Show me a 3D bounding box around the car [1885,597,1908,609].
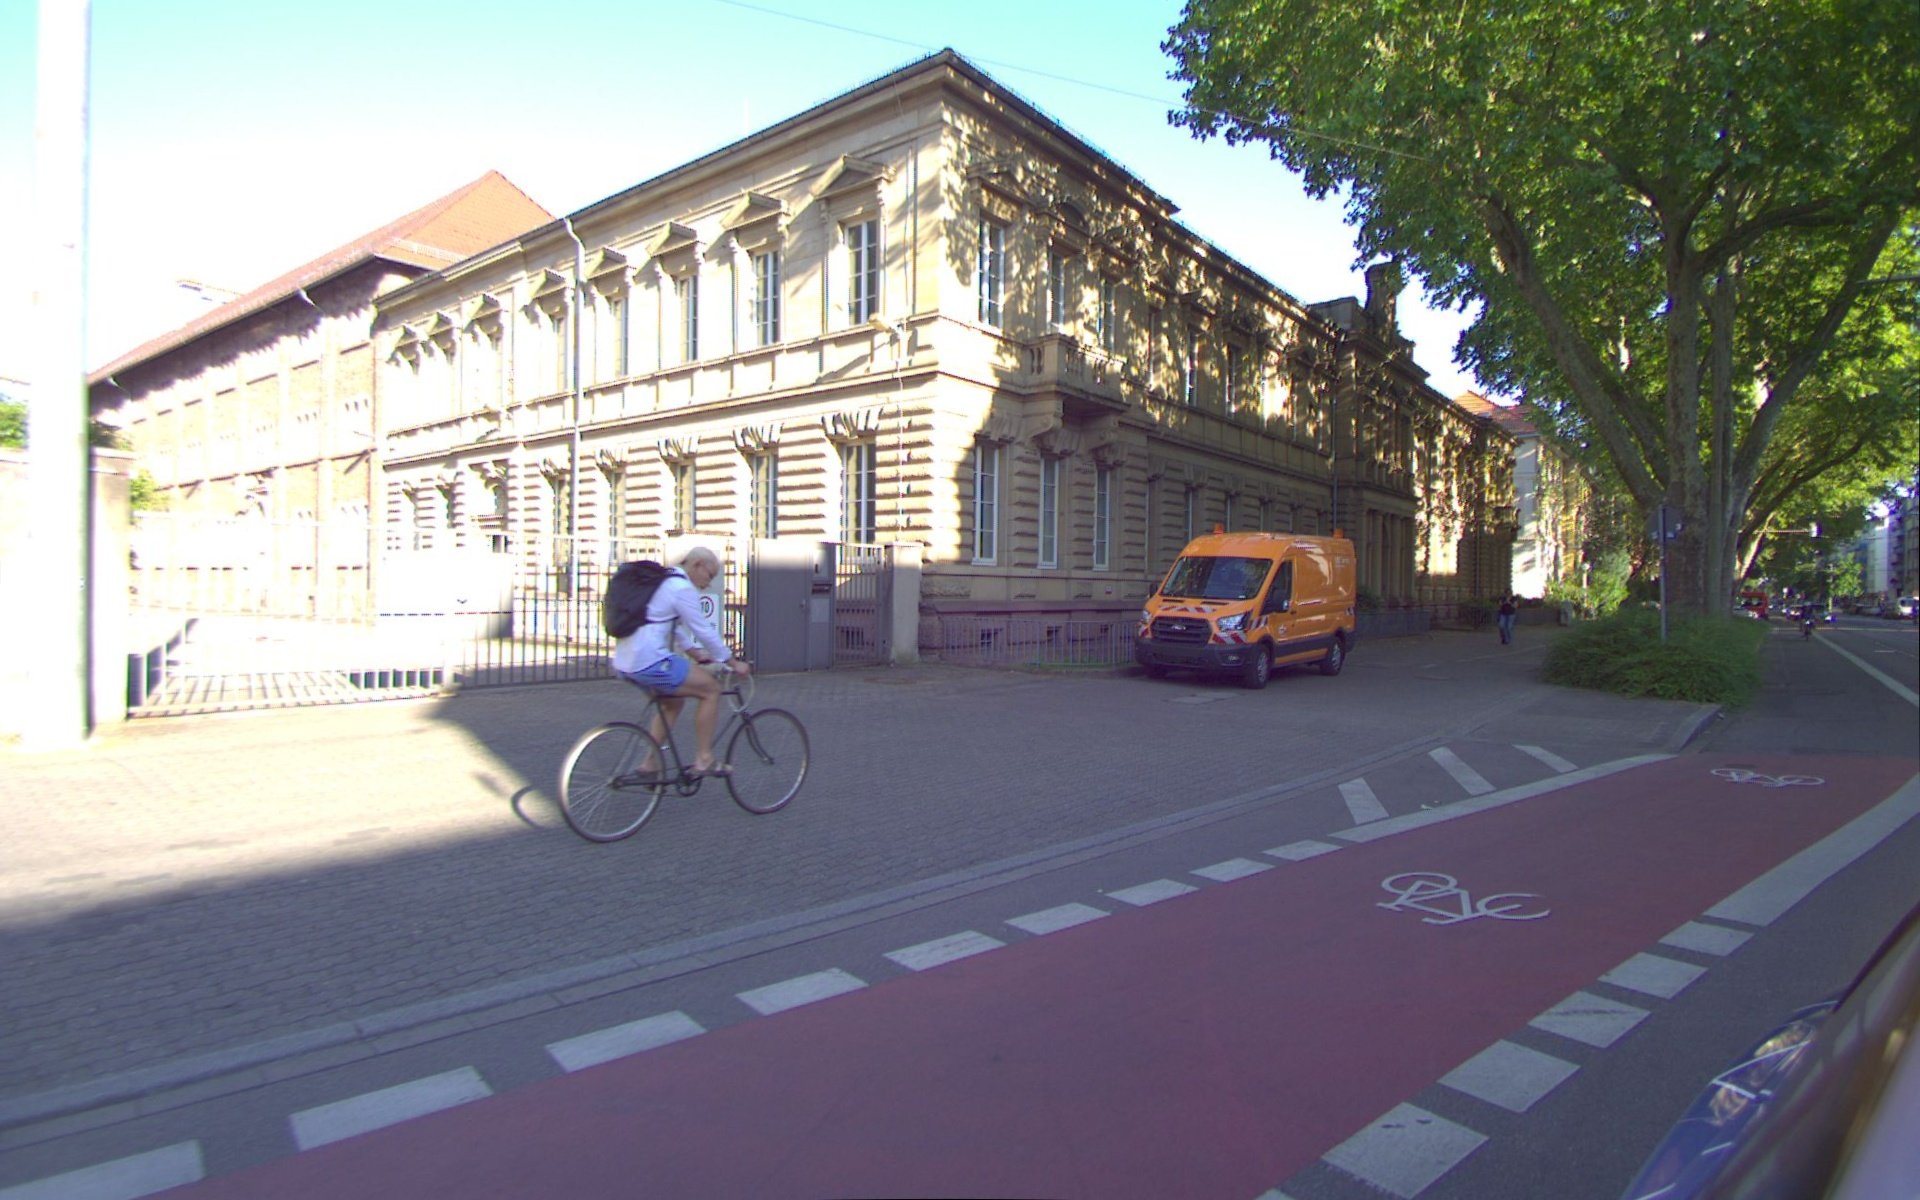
[{"bbox_3d":[120.129,0.408,129.853,1.799,1.563,3.865,-1,-1,38],"label":"car"}]

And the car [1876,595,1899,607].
[{"bbox_3d":[126.488,0.148,138.055,1.798,1.563,3.868,-1,-1,36],"label":"car"}]

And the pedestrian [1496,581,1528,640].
[{"bbox_3d":[16.802,0.297,30.793,0.649,1.758,0.993,1,0,39],"label":"pedestrian"}]

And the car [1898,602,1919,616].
[{"bbox_3d":[107.934,1.026,114.796,1.799,1.563,3.865,-1,-1,38],"label":"car"}]

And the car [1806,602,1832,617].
[{"bbox_3d":[83.123,0.951,97.958,1.731,1.390,3.865,-1,-1,38],"label":"car"}]

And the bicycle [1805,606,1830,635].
[{"bbox_3d":[35.248,0.823,41.610,0.712,1.152,2.090,1,1,39],"label":"bicycle"}]

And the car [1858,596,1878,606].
[{"bbox_3d":[135.498,0.156,150.981,1.798,1.563,3.868,-1,-1,36],"label":"car"}]

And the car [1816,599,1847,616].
[{"bbox_3d":[74.064,0.657,86.026,1.731,1.390,3.865,-1,-1,38],"label":"car"}]

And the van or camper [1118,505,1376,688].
[{"bbox_3d":[5.061,-0.072,17.173,2.034,2.591,5.688,1,1,40],"label":"van or camper"}]

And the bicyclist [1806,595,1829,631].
[{"bbox_3d":[35.277,0.517,41.645,0.712,1.461,0.940,1,0,40],"label":"bicyclist"}]

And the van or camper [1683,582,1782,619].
[{"bbox_3d":[58.255,0.003,76.467,5.899,2.528,2.192,1,3,37],"label":"van or camper"}]

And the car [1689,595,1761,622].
[{"bbox_3d":[49.501,0.518,65.517,3.662,1.561,1.593,2,3,39],"label":"car"}]

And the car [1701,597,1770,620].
[{"bbox_3d":[53.006,0.566,69.195,3.662,1.435,1.593,2,3,39],"label":"car"}]

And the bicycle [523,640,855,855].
[{"bbox_3d":[-1.625,0.822,6.285,1.868,1.045,0.676,0,3,-42],"label":"bicycle"}]

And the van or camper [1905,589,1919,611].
[{"bbox_3d":[104.537,0.015,110.194,1.935,2.309,4.535,-1,-1,38],"label":"van or camper"}]

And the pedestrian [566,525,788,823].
[{"bbox_3d":[-1.717,0.393,6.178,1.083,1.639,0.671,0,3,-42],"label":"pedestrian"}]
